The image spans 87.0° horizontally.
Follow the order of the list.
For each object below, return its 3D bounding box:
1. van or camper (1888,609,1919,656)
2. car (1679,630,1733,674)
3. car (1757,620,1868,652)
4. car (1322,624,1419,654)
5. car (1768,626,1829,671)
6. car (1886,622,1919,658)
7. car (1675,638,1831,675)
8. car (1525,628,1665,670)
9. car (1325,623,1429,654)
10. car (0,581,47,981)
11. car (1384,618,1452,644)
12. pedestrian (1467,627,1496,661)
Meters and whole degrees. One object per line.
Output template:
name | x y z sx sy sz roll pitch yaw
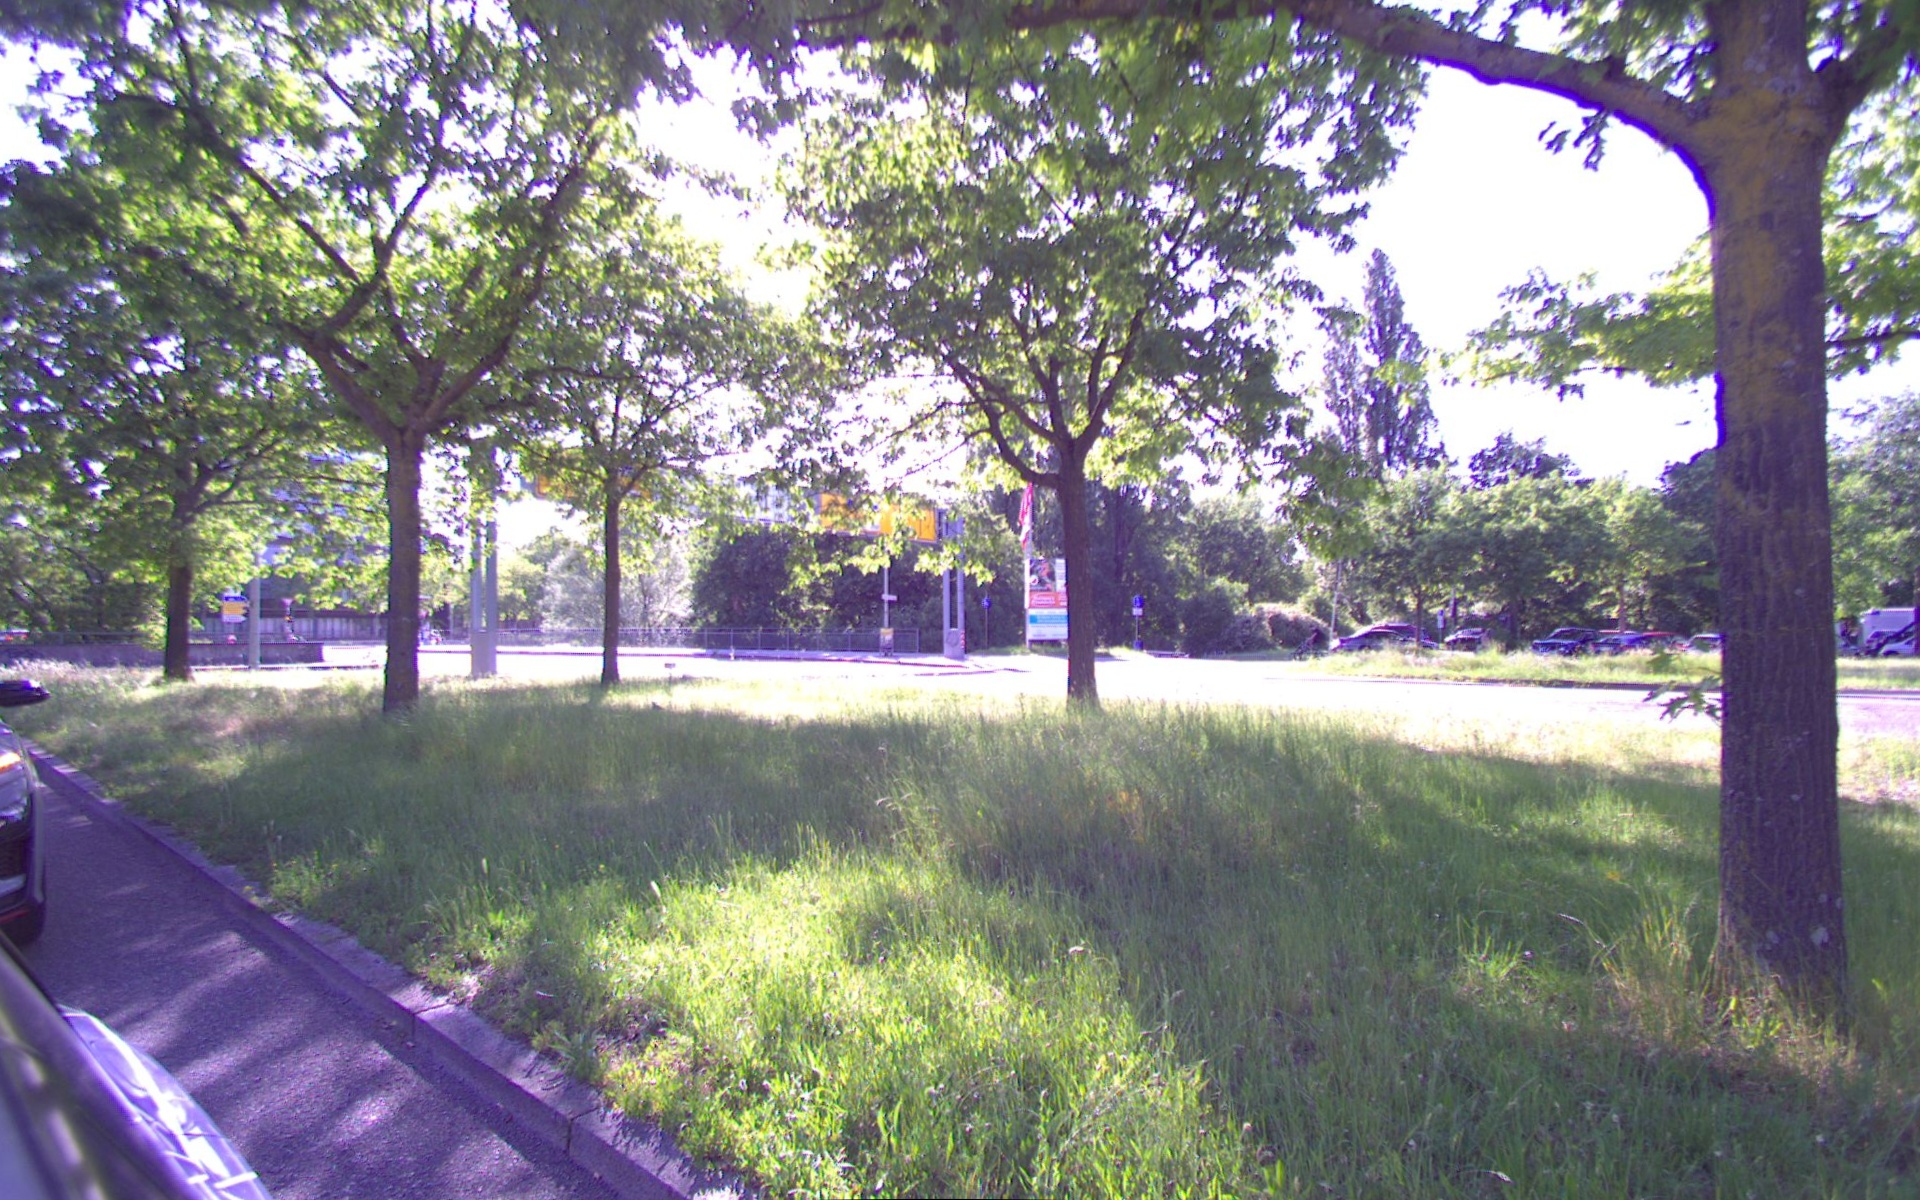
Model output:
van or camper | 44.280 1.435 44.714 1.966 2.112 4.414 1 -2 -32
car | 32.895 2.239 44.599 1.653 1.618 3.834 -2 1 40
car | 42.911 1.787 51.007 1.969 1.521 4.005 1 -2 -41
car | 22.031 2.093 54.490 4.509 1.475 1.993 -1 0 12
car | 35.607 1.998 42.933 1.655 1.618 3.830 -2 1 44
car | 42.428 1.697 43.108 1.936 1.484 4.011 -2 0 -33
car | 26.532 1.881 34.052 3.990 1.137 1.801 -1 -2 35
car | 23.442 1.781 37.513 1.791 1.459 4.012 0 -2 -30
car | 20.969 1.921 51.014 4.509 1.475 1.993 -1 0 12
car | -5.735 0.739 4.729 3.979 1.563 1.757 -2 -2 42
car | 32.597 2.192 71.998 4.126 1.814 1.976 -1 -2 35
pedestrian | 22.762 1.905 44.176 0.873 1.429 0.988 -2 -2 41
